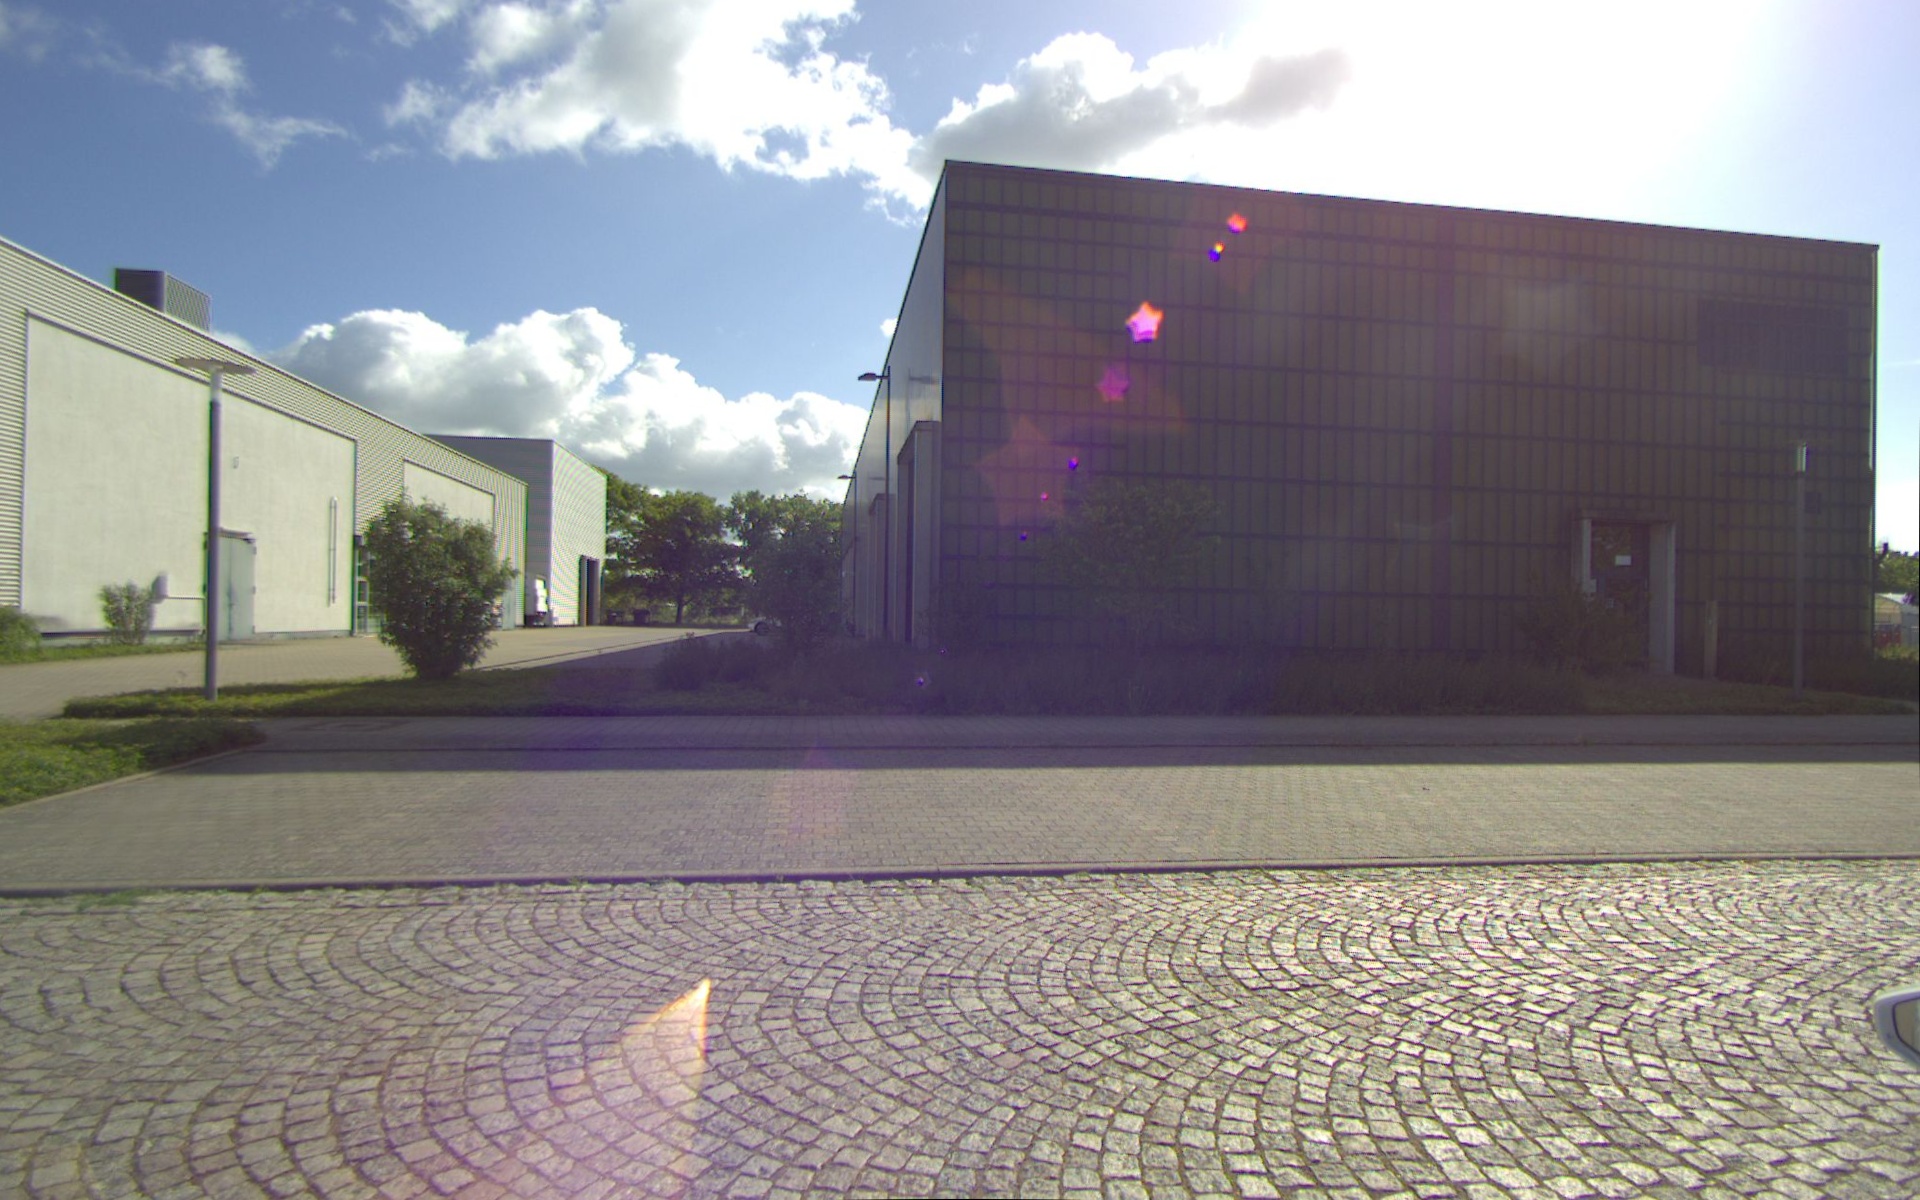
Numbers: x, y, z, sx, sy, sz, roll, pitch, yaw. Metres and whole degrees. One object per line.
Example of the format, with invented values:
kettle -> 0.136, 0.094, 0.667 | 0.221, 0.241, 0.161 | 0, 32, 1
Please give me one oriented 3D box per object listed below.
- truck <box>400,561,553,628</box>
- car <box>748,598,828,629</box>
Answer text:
truck -> -29.614, -0.270, 61.808 | 7.954, 3.868, 2.647 | 1, -1, -8
car -> -10.069, 0.776, 58.838 | 4.497, 1.685, 1.997 | 1, 0, -10
